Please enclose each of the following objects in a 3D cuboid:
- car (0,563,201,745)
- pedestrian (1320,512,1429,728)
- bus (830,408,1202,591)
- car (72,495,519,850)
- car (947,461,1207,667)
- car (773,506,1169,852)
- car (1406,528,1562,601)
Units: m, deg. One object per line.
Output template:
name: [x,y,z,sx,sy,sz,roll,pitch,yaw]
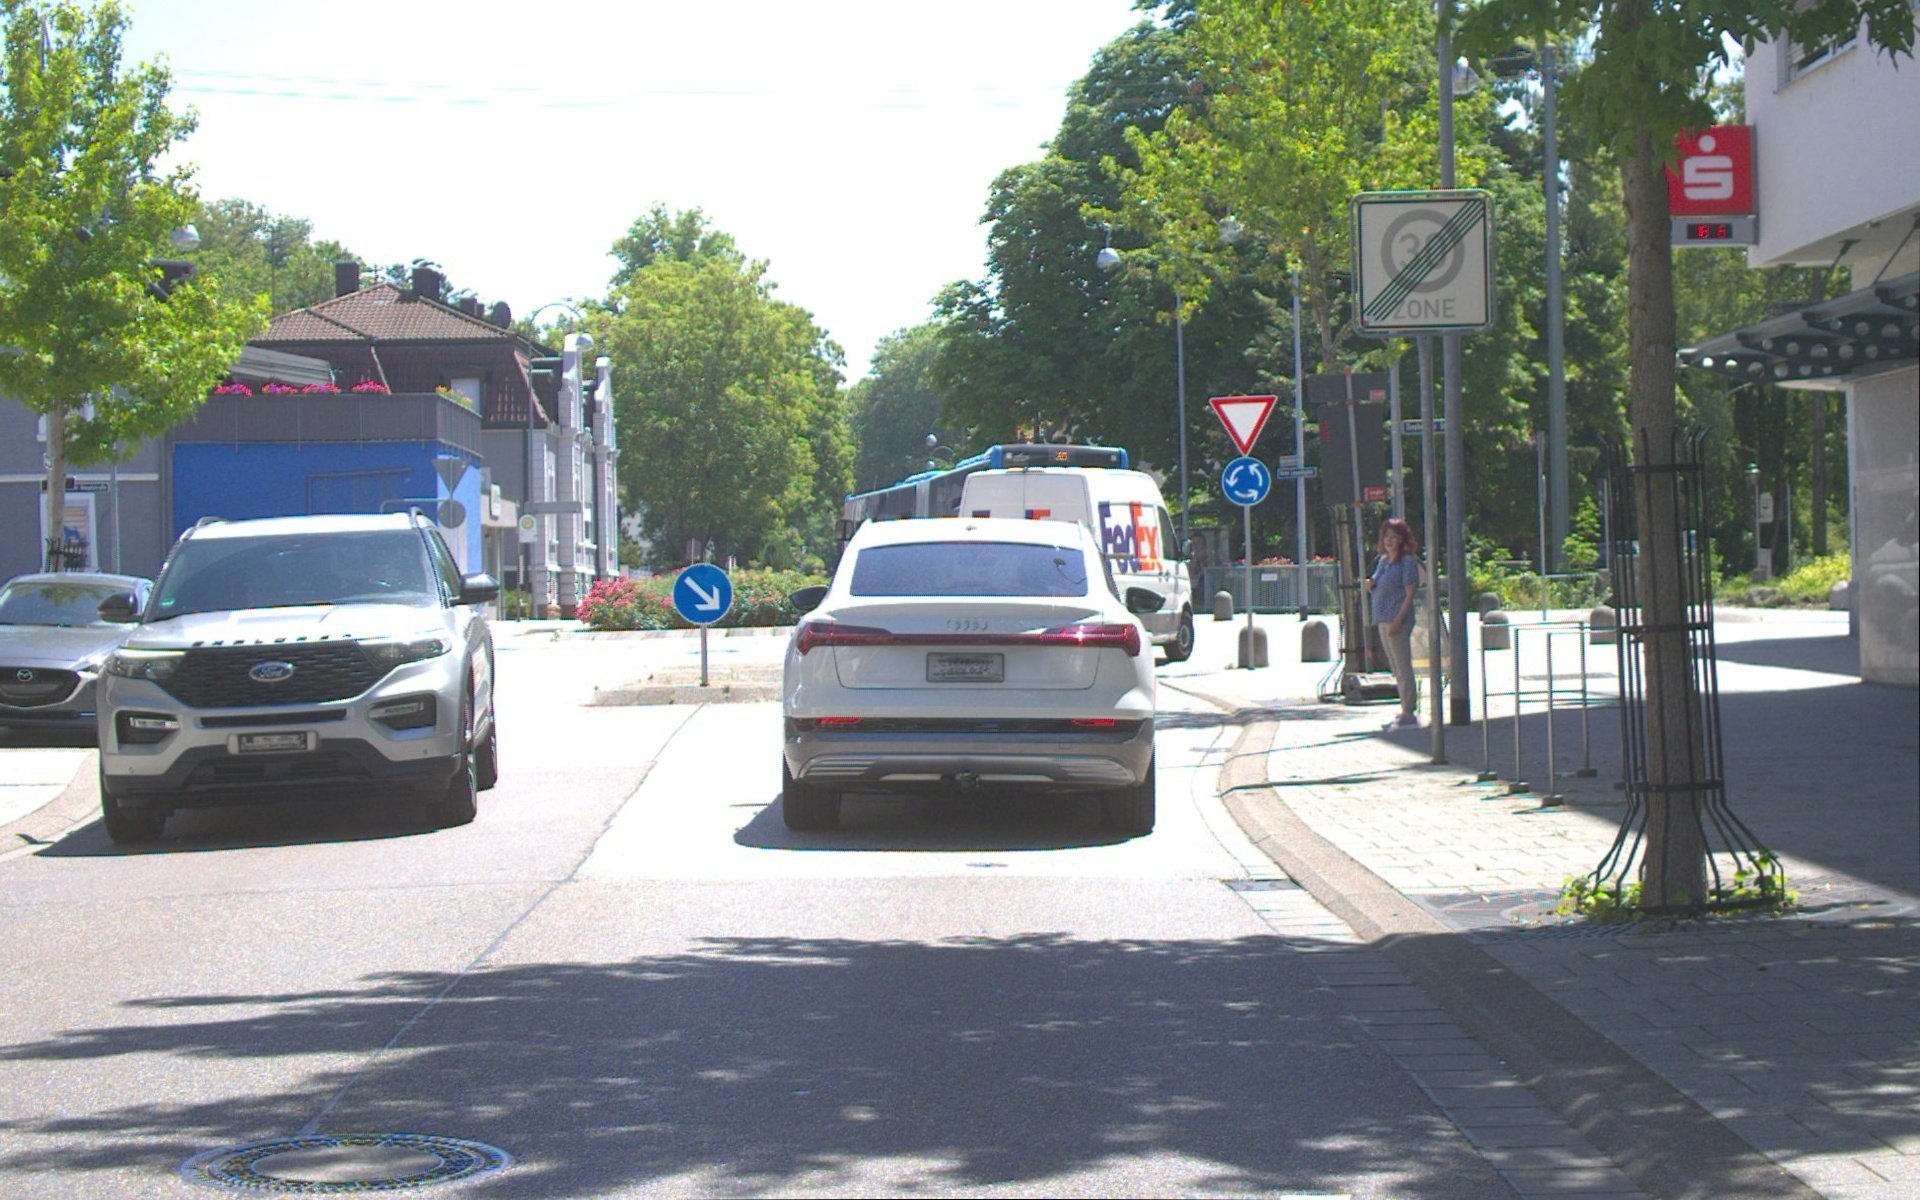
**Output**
car: [-7.946,0.429,30.746,1.666,1.481,4.061,1,1,-4]
pedestrian: [3.151,0.146,26.178,0.732,1.604,0.559,-2,1,1]
bus: [0.673,-1.815,69.557,3.705,3.160,18.074,1,0,-11]
car: [-3.734,0.346,20.152,1.900,1.748,4.757,-3,1,-4]
car: [1.607,-0.475,44.492,1.995,2.472,5.480,-1,1,17]
car: [0.052,0.350,18.755,1.898,1.656,4.409,0,1,0]
car: [11.821,-0.800,77.566,3.048,1.547,1.635,-2,1,-14]
